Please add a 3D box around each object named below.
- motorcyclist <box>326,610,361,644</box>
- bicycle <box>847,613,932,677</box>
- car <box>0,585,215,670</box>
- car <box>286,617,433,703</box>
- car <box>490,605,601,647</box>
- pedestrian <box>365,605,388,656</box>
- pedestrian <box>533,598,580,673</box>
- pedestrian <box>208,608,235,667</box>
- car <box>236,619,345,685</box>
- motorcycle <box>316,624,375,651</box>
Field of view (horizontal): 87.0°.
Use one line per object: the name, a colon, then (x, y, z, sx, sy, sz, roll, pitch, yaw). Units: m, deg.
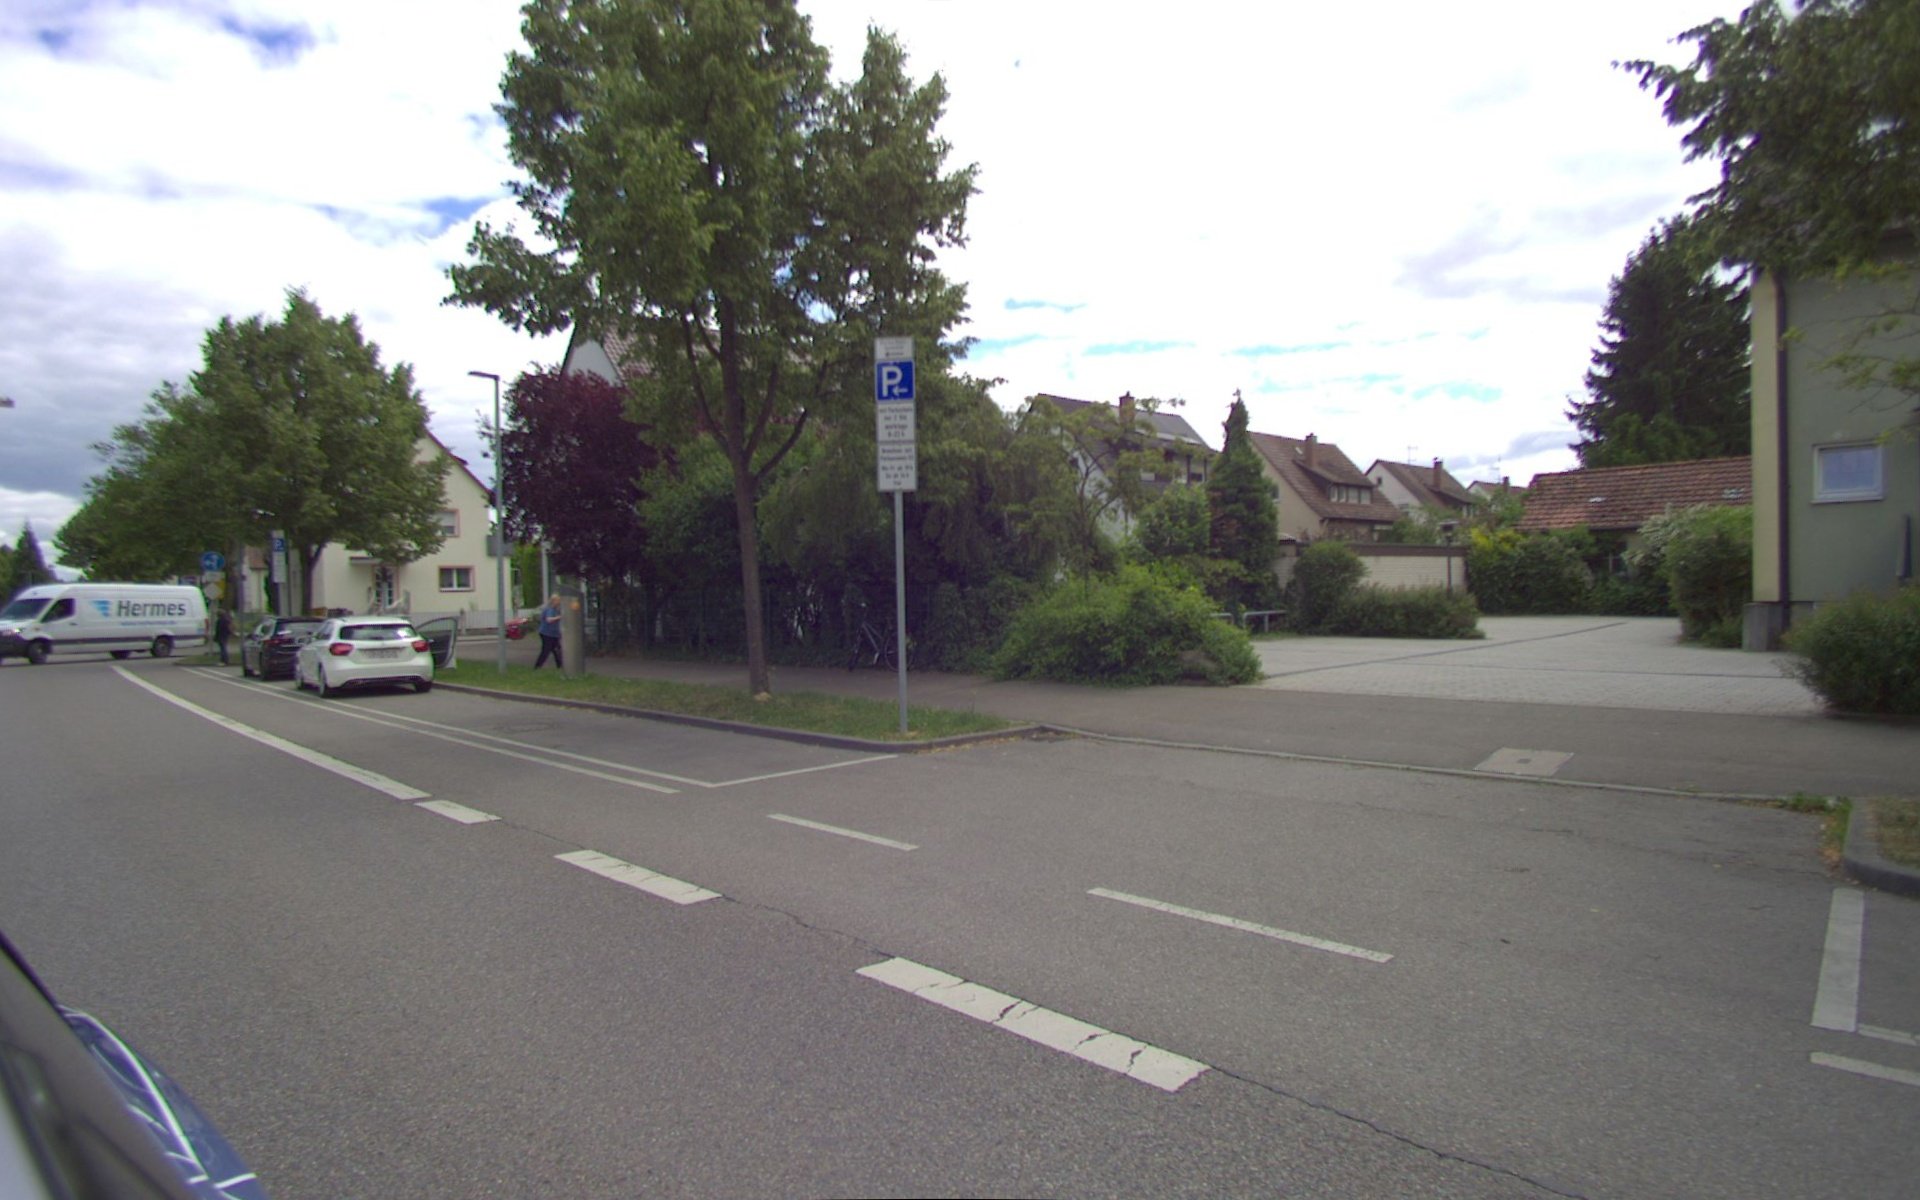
motorcyclist: (-26.031, 1.134, 42.745, 1.093, 1.375, 0.754, -1, 0, -44)
bicycle: (-1.231, 0.765, 17.460, 1.581, 1.056, 0.457, -1, 0, 41)
car: (-29.952, 0.879, 34.896, 2.197, 2.614, 7.287, -1, 0, 11)
car: (-11.585, 1.065, 19.384, 1.693, 1.417, 4.306, -1, -1, -41)
car: (-18.771, 1.136, 45.950, 1.873, 1.791, 4.299, 1, 1, 44)
pedestrian: (-18.341, 0.951, 31.787, 0.425, 1.563, 0.807, -2, 0, -42)
pedestrian: (-8.443, 0.727, 21.168, 0.692, 1.540, 0.581, -1, 0, 12)
pedestrian: (-21.934, 1.104, 30.068, 0.535, 1.694, 0.752, -3, 0, -34)
car: (-16.020, 1.179, 24.130, 1.623, 1.431, 4.025, 0, -1, -42)
motorcycle: (-25.977, 1.587, 42.827, 2.088, 1.039, 0.481, -1, 0, -44)
